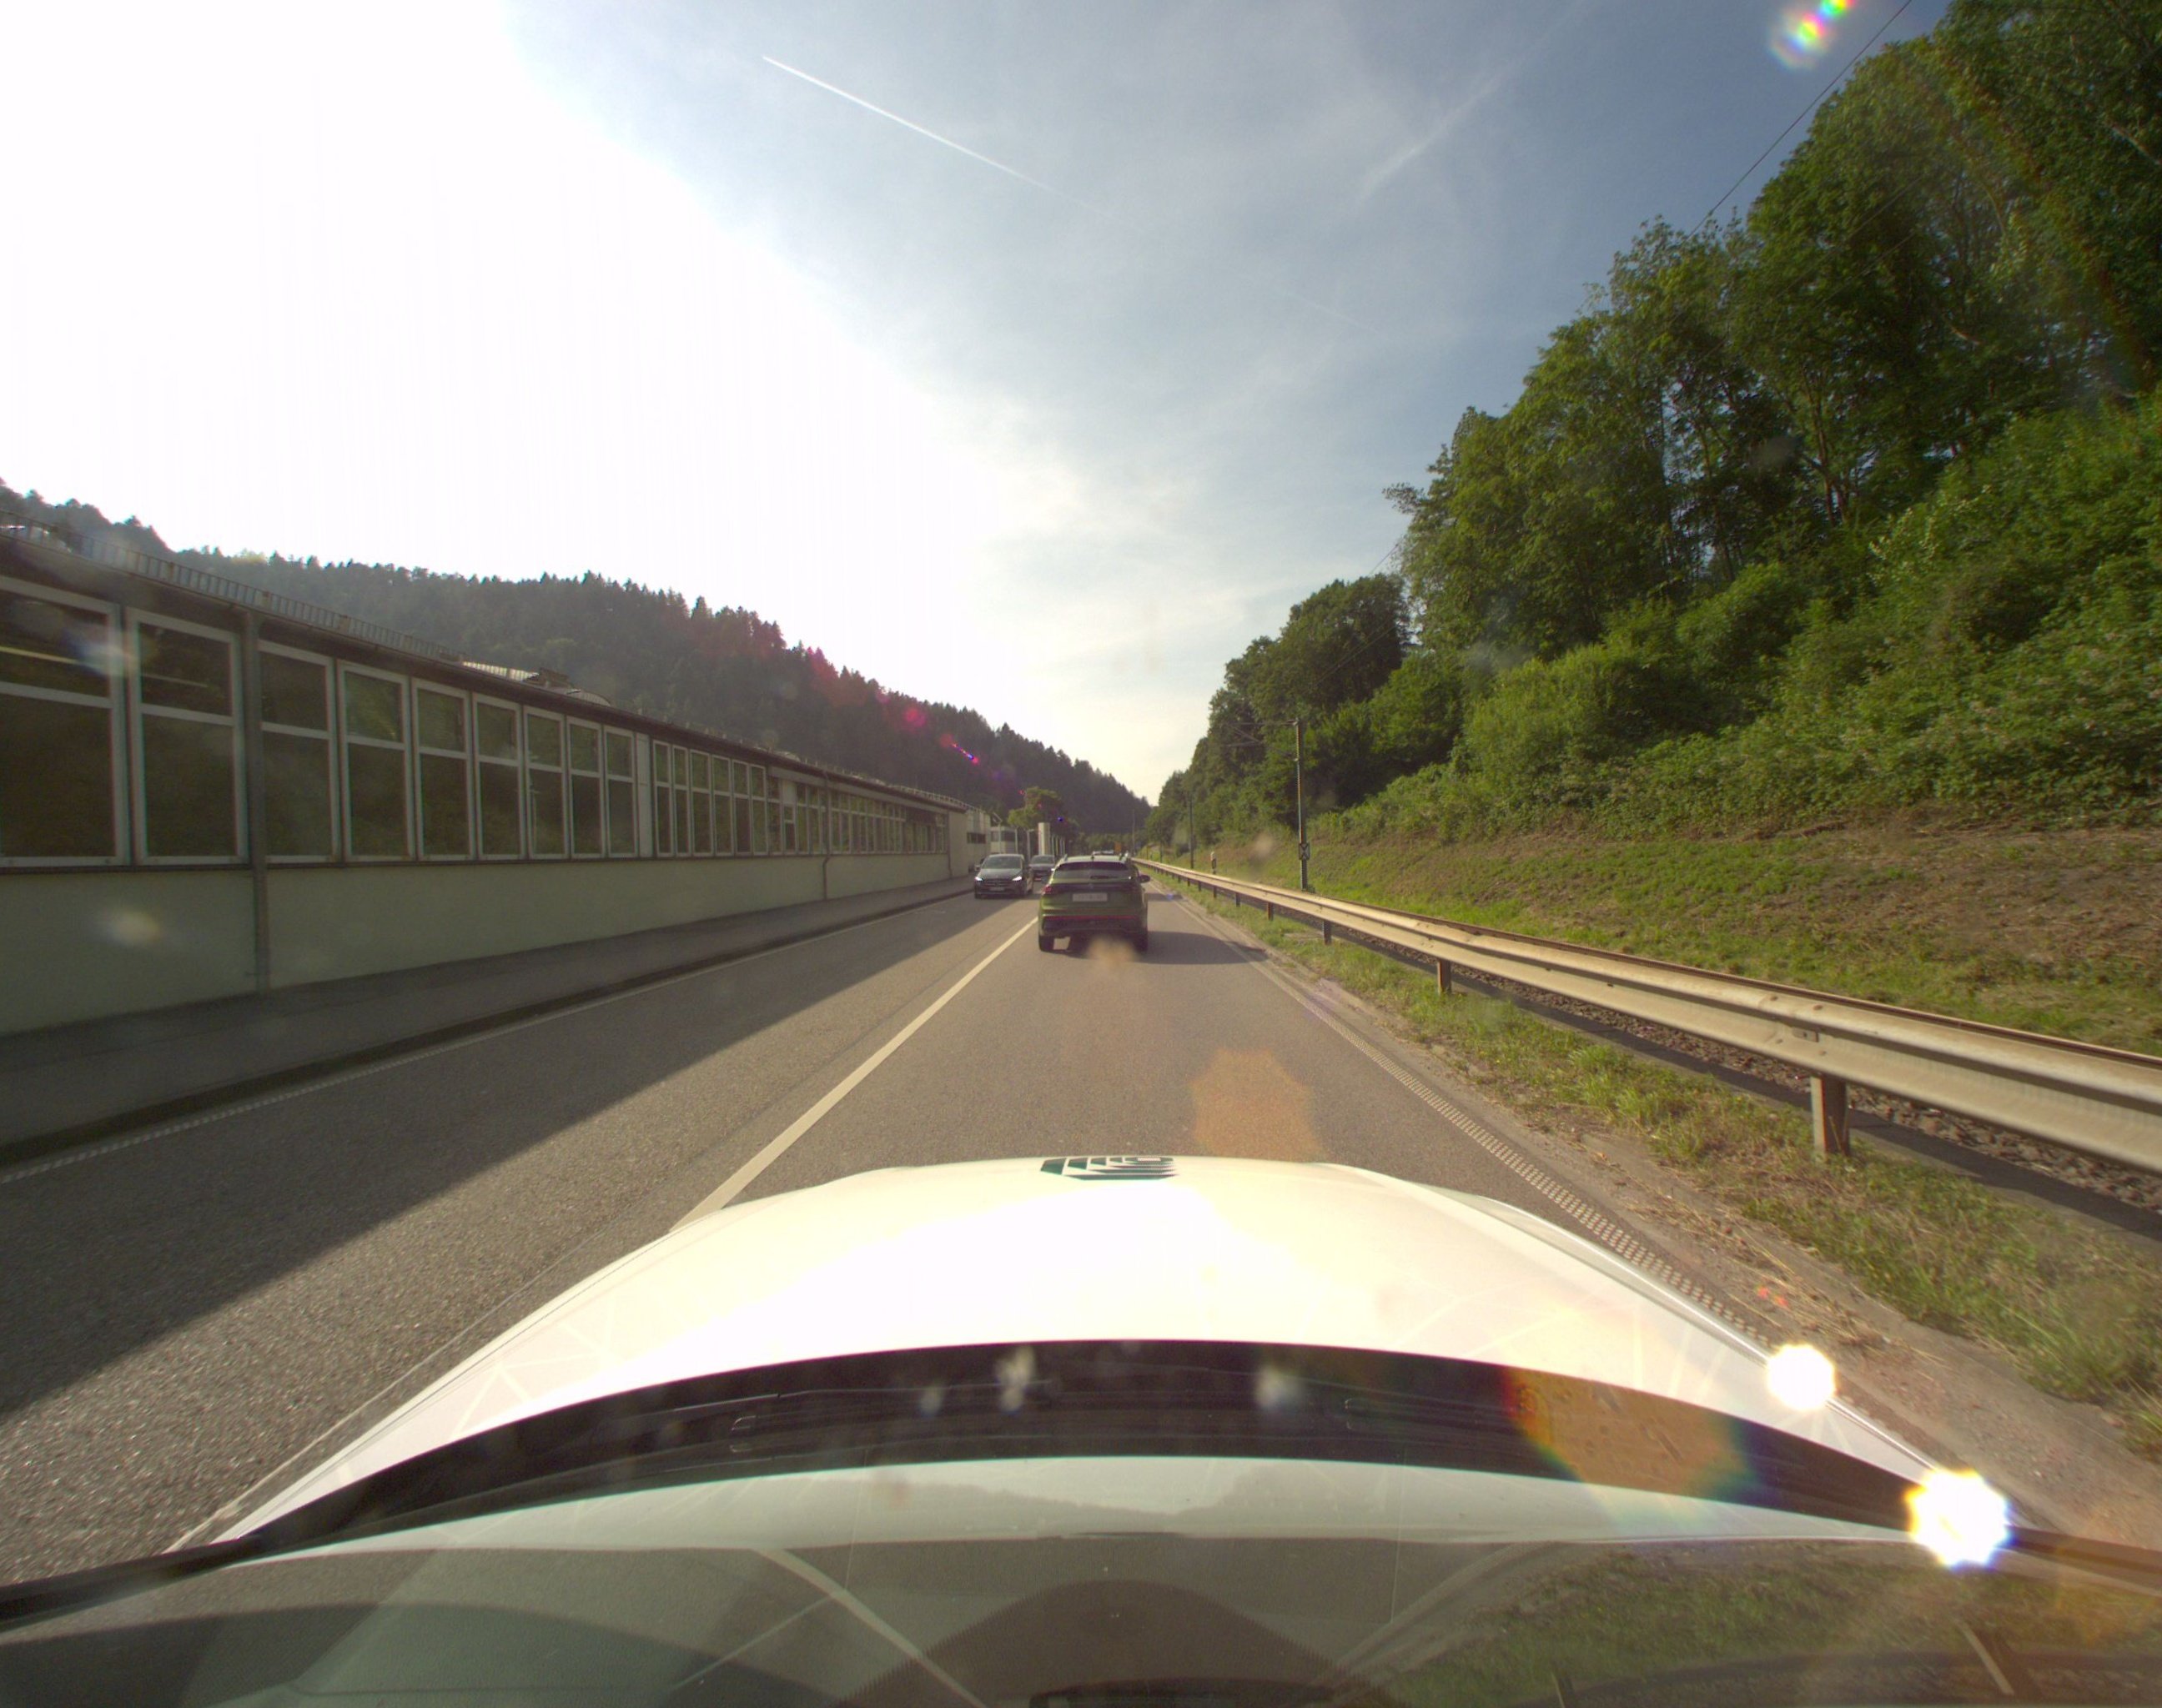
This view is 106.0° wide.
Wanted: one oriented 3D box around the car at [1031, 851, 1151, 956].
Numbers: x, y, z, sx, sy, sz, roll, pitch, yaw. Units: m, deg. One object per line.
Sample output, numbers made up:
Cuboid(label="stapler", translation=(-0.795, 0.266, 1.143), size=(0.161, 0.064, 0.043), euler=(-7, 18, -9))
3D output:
Cuboid(label="car", translation=(0.181, 0.729, 13.992), size=(1.733, 1.508, 4.001), euler=(-1, 0, 1))

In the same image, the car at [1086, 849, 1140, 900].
Cuboid(label="car", translation=(1.080, 0.667, 28.482), size=(1.733, 1.602, 4.001), euler=(-1, 0, 1))

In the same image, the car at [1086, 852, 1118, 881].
Cuboid(label="car", translation=(1.221, 0.684, 47.225), size=(1.733, 1.602, 4.001), euler=(-1, 0, 1))

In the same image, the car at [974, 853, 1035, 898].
Cuboid(label="car", translation=(-2.726, 0.732, 29.758), size=(1.713, 1.514, 4.200), euler=(0, 0, 2))

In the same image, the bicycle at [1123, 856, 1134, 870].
Cuboid(label="bicycle", translation=(4.351, 0.788, 74.694), size=(0.809, 1.250, 2.122), euler=(-2, 0, 0))

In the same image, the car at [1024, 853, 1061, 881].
Cuboid(label="car", translation=(-2.166, 0.723, 46.762), size=(1.767, 1.490, 4.053), euler=(0, 0, 2))

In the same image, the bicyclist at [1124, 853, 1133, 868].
Cuboid(label="bicyclist", translation=(4.342, 0.594, 74.799), size=(0.779, 1.412, 0.675), euler=(-2, 0, 0))
